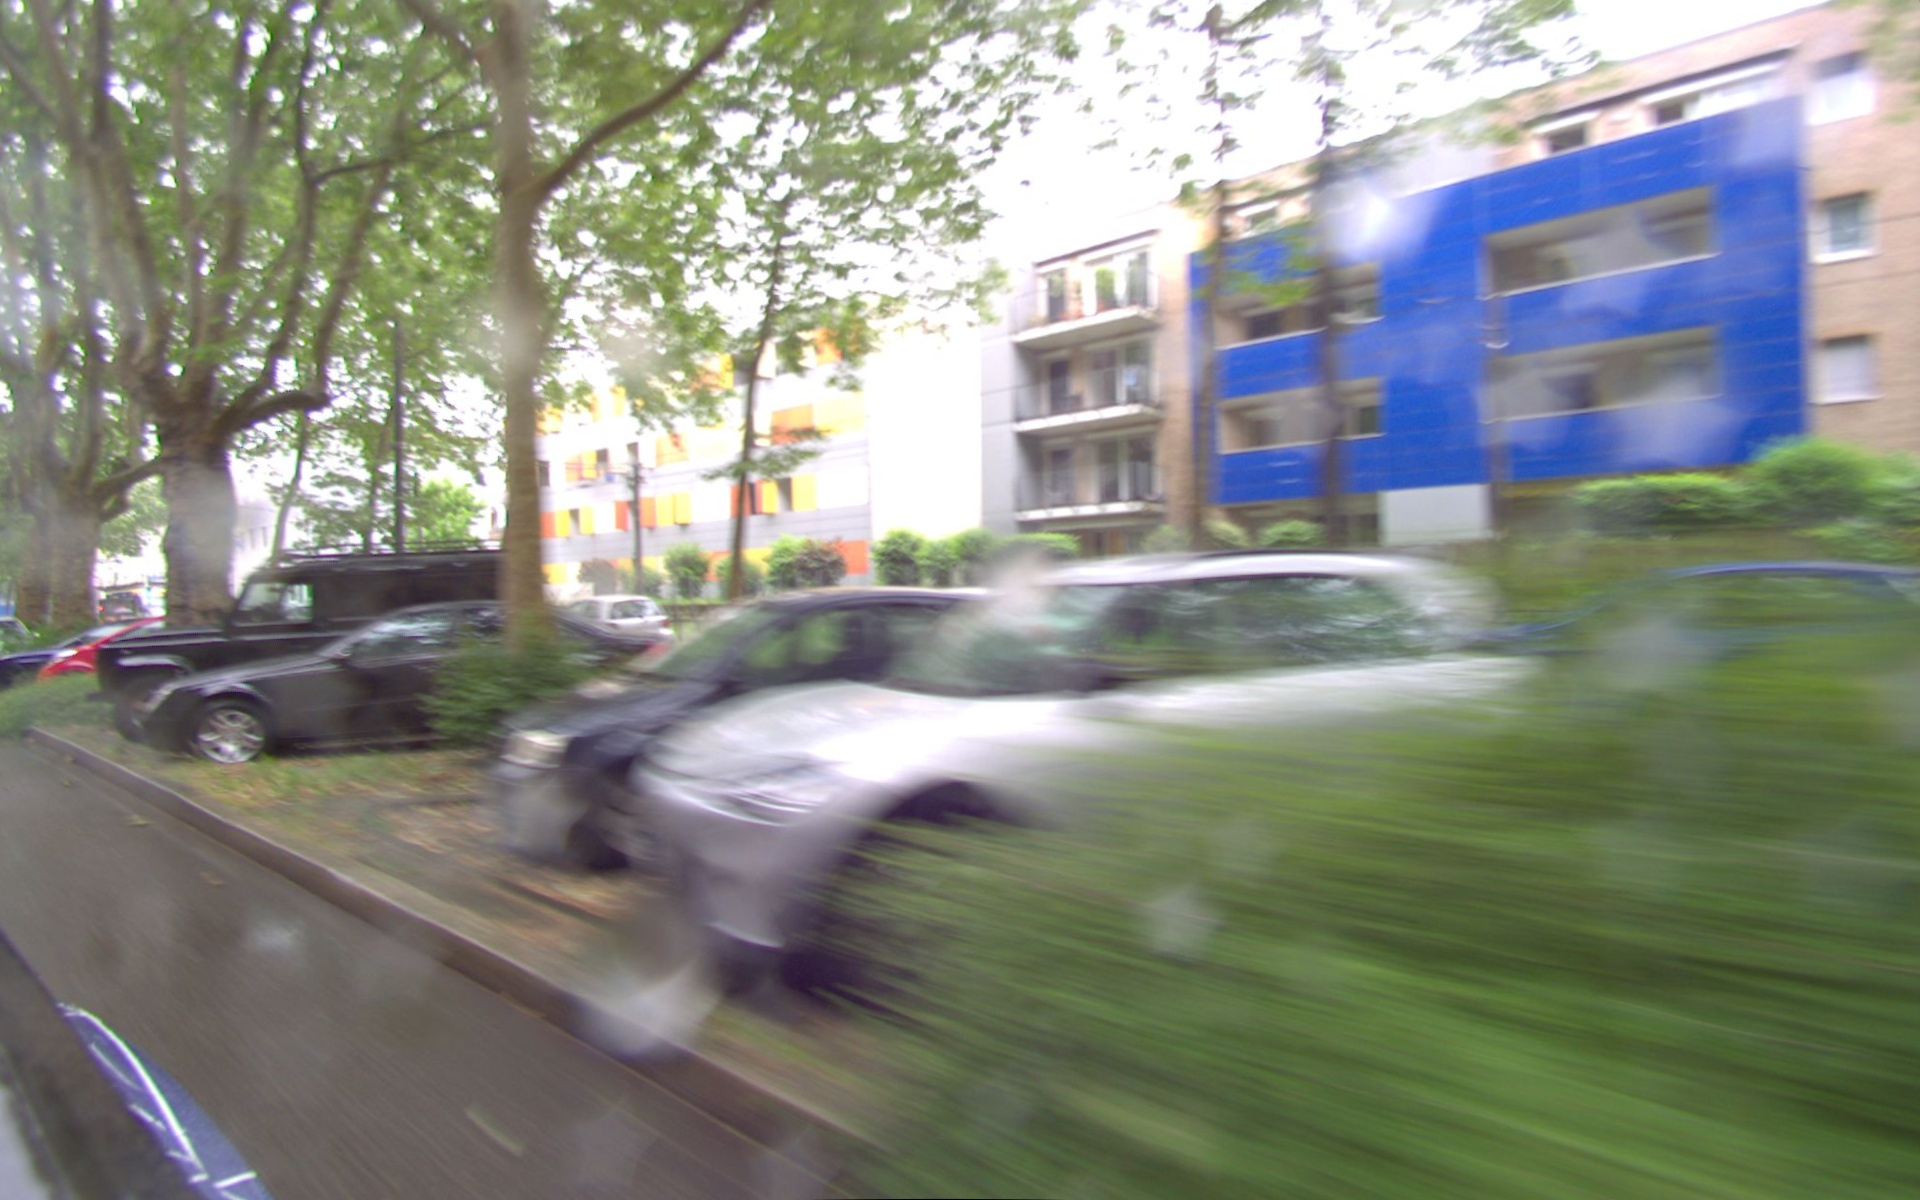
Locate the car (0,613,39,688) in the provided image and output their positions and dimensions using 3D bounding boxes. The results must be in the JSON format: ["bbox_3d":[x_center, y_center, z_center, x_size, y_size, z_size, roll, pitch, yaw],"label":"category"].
[{"bbox_3d":[-21.782,1.119,22.268,4.205,1.526,1.712,-1,2,41],"label":"car"}]

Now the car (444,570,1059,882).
[{"bbox_3d":[-1.269,0.583,6.409,3.451,1.479,1.647,-1,0,-31],"label":"car"}]

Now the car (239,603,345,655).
[{"bbox_3d":[-22.912,0.970,34.655,4.465,1.612,1.884,-1,1,41],"label":"car"}]

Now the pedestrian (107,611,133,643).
[{"bbox_3d":[-48.337,1.536,58.248,1.205,1.813,0.926,-1,1,40],"label":"pedestrian"}]

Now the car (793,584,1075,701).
[{"bbox_3d":[-0.536,0.596,15.850,1.882,1.545,4.424,-2,1,-44],"label":"car"}]

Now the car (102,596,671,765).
[{"bbox_3d":[-5.393,0.674,10.184,4.579,1.336,1.853,-1,0,-22],"label":"car"}]

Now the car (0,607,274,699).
[{"bbox_3d":[-14.810,0.885,18.057,3.976,1.445,1.787,-1,0,-24],"label":"car"}]

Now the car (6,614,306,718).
[{"bbox_3d":[-12.872,0.994,16.482,3.442,1.447,1.787,-1,0,-22],"label":"car"}]

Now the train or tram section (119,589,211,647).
[{"bbox_3d":[-55.485,1.199,70.486,11.547,3.669,2.870,-1,2,41],"label":"train or tram section"}]

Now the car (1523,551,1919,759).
[{"bbox_3d":[7.334,0.392,8.560,4.212,1.545,1.885,-1,1,40],"label":"car"}]

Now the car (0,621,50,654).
[{"bbox_3d":[-44.921,1.776,48.167,3.996,1.431,1.815,-2,0,40],"label":"car"}]

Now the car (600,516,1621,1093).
[{"bbox_3d":[0.644,0.502,4.421,3.995,1.549,1.841,-3,1,-24],"label":"car"}]

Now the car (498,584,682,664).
[{"bbox_3d":[-8.142,0.505,22.101,4.212,1.545,1.885,-1,1,40],"label":"car"}]

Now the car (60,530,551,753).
[{"bbox_3d":[-7.440,0.392,12.146,4.580,2.300,2.018,-1,0,-20],"label":"car"}]
